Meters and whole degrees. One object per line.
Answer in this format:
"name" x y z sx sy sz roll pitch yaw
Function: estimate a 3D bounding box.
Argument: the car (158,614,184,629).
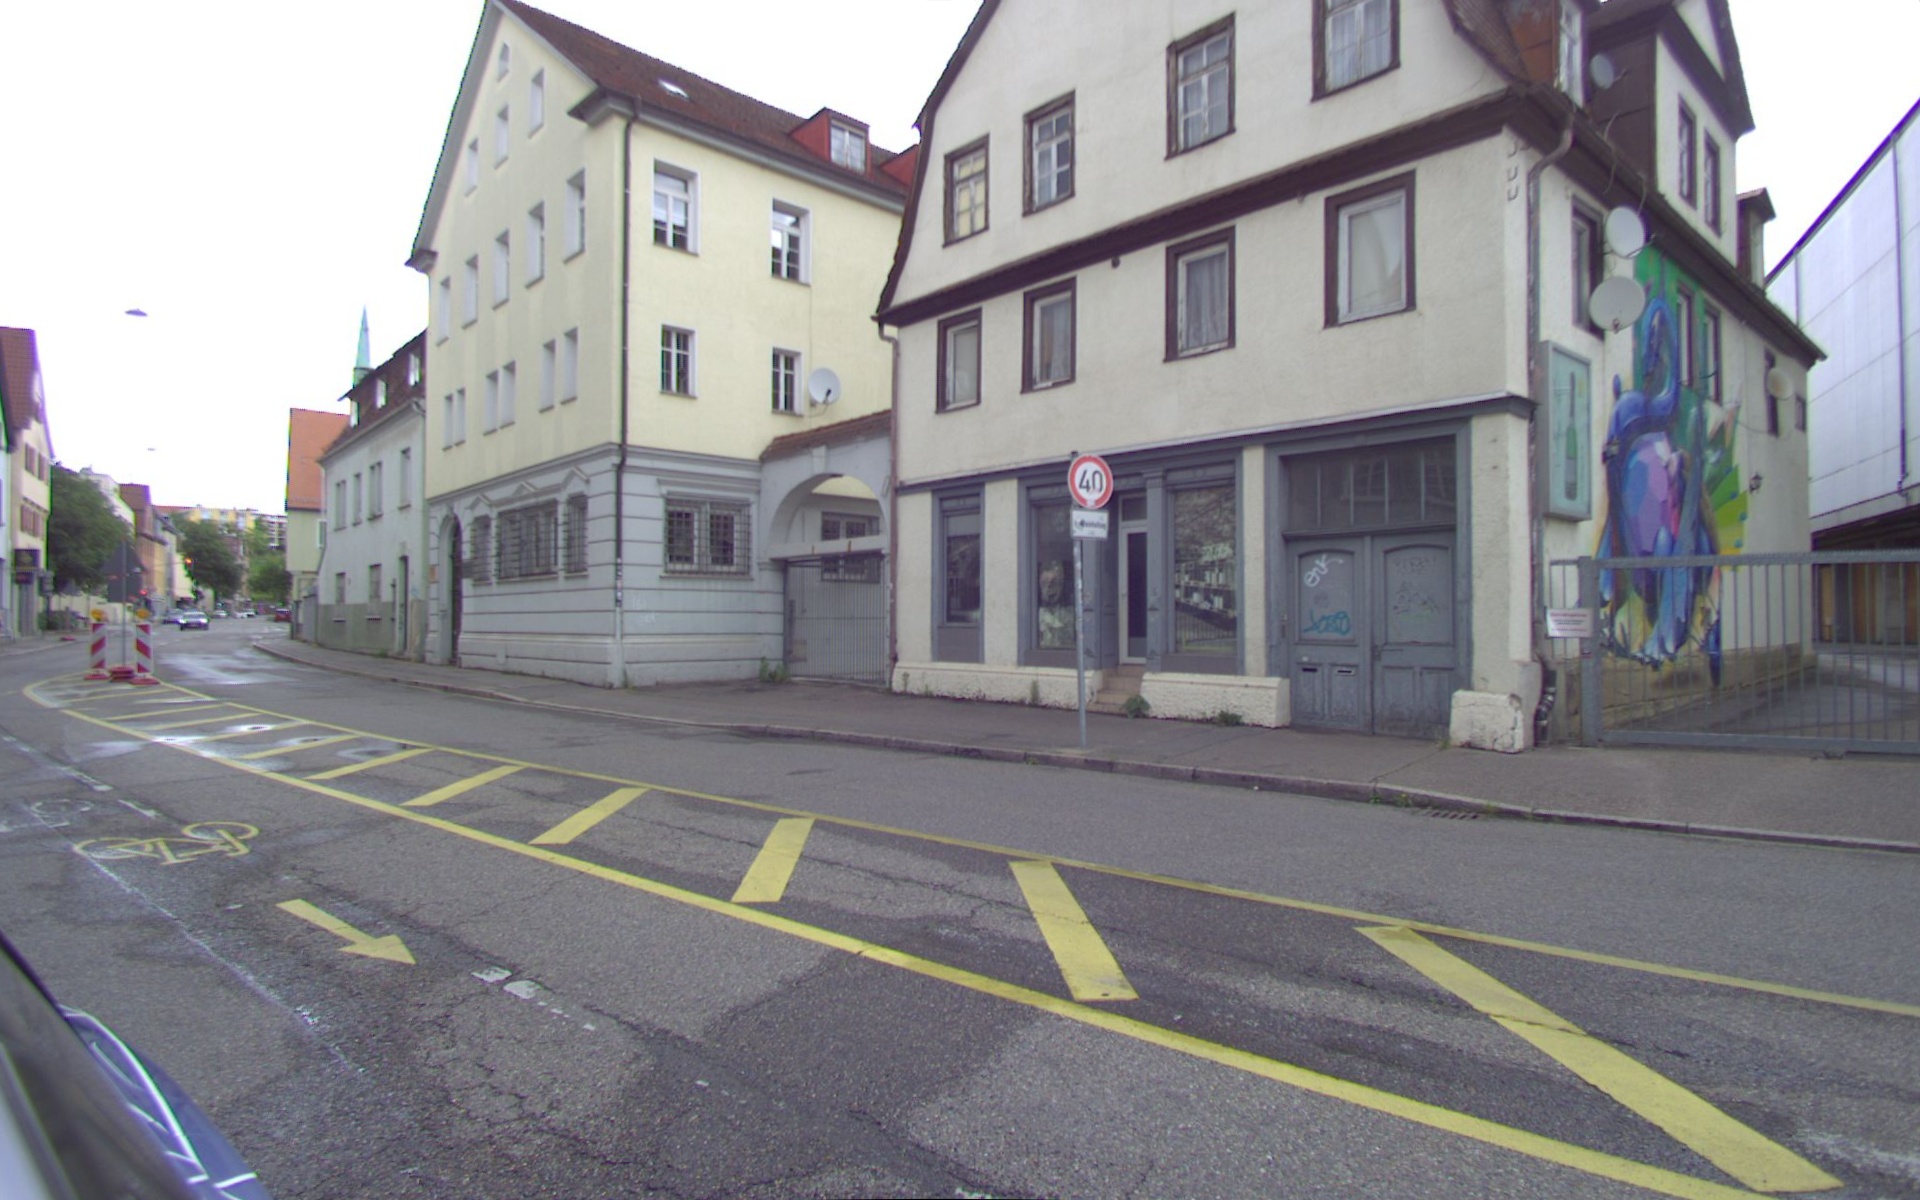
"car" -84.971 2.287 109.009 2.001 1.567 4.010 2 -2 -35

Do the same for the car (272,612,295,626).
"car" -85.879 2.449 128.439 2.178 1.690 4.509 2 -2 -36

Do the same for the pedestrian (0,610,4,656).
"pedestrian" -35.167 1.197 36.518 0.820 1.668 0.946 1 -2 -34

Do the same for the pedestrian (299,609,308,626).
"pedestrian" -80.242 2.143 123.648 0.823 2.029 0.847 1 -2 -36

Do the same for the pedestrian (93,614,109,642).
"pedestrian" -72.831 2.348 85.809 0.888 2.328 0.822 1 -2 -36

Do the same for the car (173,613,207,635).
"car" -62.337 1.887 81.963 1.967 1.691 4.010 0 0 -34

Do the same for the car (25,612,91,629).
"car" -77.428 1.738 86.908 3.932 1.475 2.006 0 0 -33
